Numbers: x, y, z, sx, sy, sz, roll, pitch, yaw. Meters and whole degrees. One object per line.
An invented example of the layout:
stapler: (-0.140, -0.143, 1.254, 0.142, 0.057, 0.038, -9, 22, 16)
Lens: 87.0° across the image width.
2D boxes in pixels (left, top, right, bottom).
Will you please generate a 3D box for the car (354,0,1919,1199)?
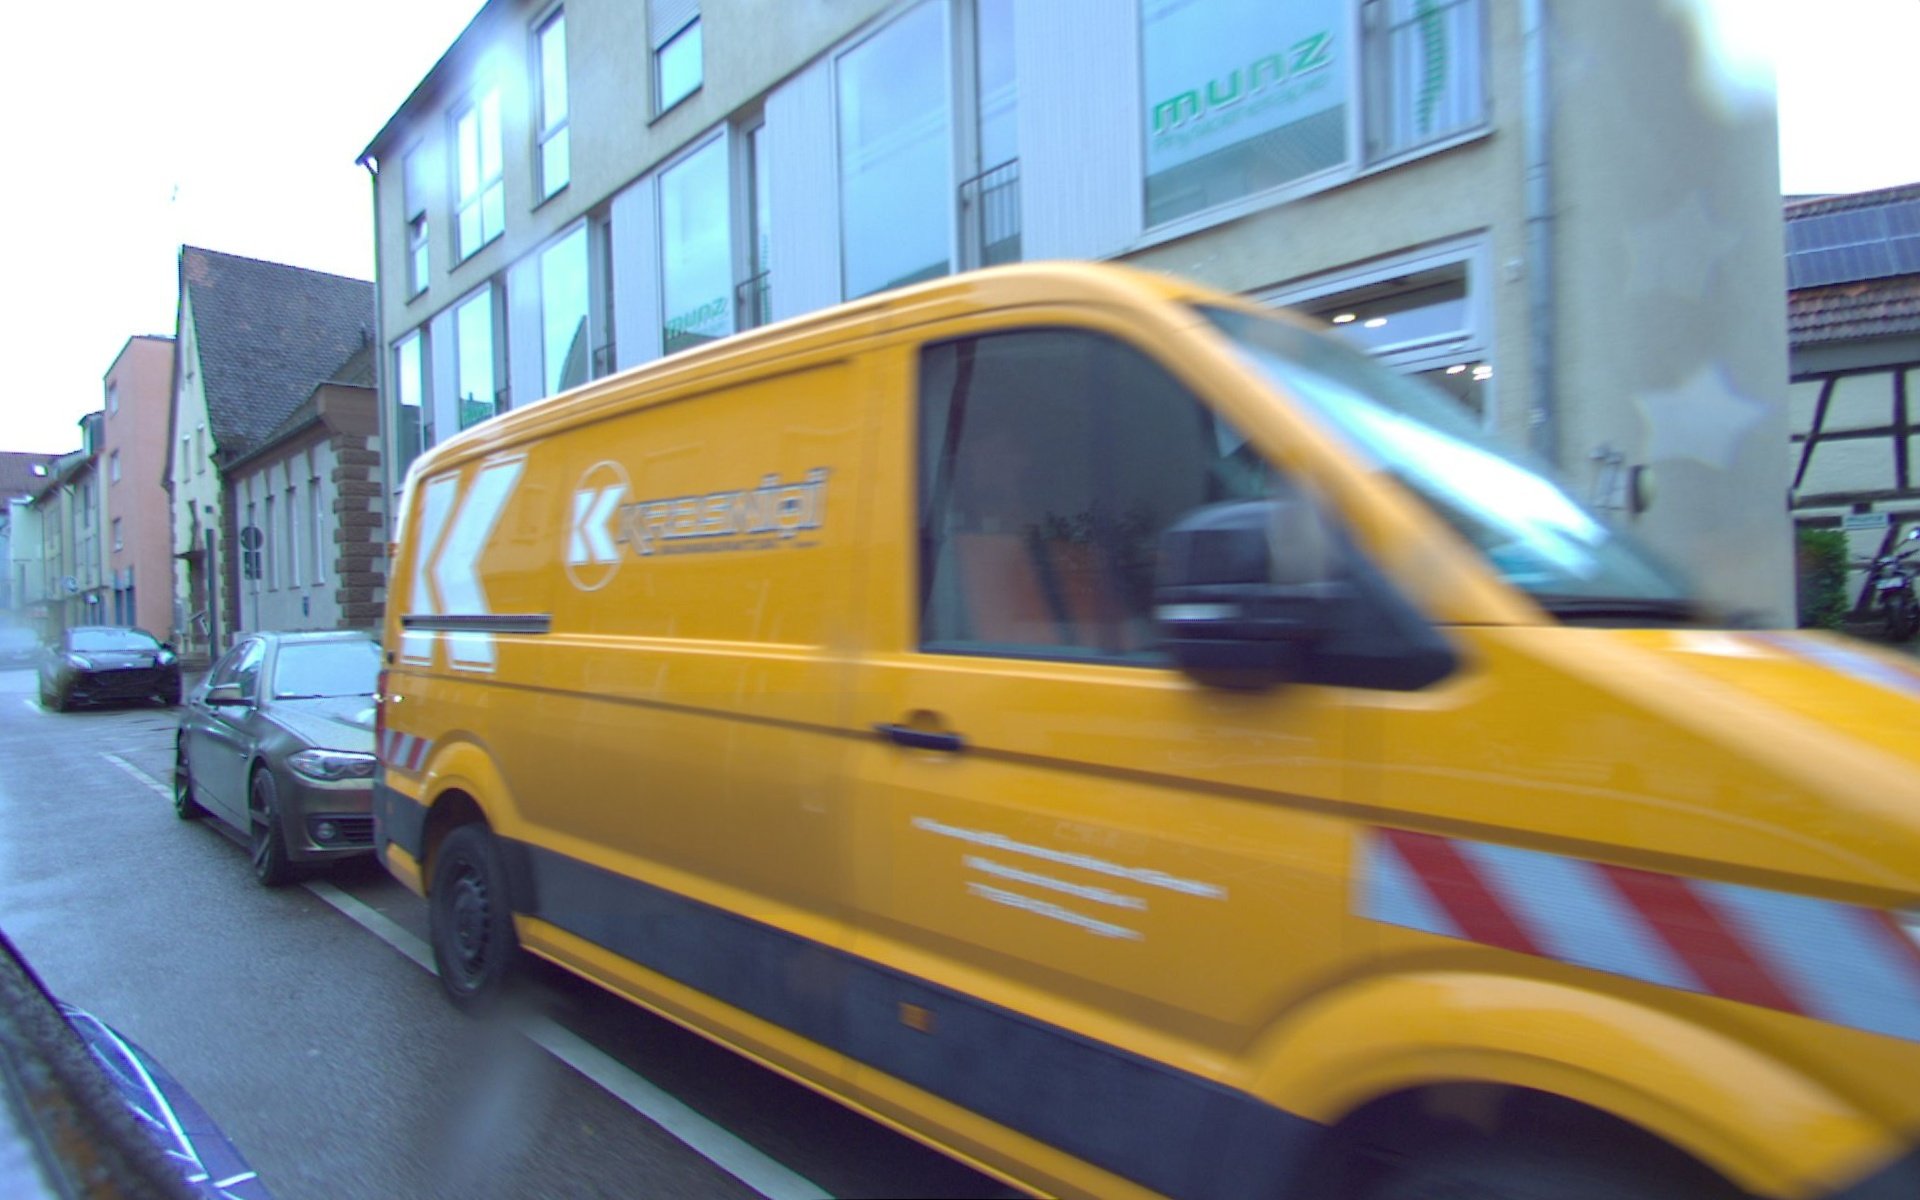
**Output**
car: (0.037, 0.315, 3.360, 5.861, 2.256, 1.972, -2, -1, 43)

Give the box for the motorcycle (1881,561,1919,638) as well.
motorcycle: (12.583, -0.029, 13.338, 0.519, 0.937, 1.431, -2, 1, 38)

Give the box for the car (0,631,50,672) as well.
car: (-34.612, 1.875, 37.117, 3.490, 1.377, 1.609, -3, -1, 45)

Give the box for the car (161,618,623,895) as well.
car: (-4.320, 0.870, 7.302, 4.483, 1.366, 1.736, -3, -2, 45)

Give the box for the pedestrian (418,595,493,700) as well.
pedestrian: (-8.932, 0.821, 17.929, 0.548, 1.790, 1.000, -2, 1, 27)

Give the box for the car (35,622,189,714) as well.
car: (-16.327, 1.236, 19.417, 3.930, 1.537, 1.716, -2, -1, 42)

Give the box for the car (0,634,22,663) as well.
car: (-46.943, 2.379, 49.312, 3.490, 1.377, 1.609, -3, -1, 45)

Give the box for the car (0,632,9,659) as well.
car: (-50.395, 2.386, 52.366, 3.490, 1.377, 1.609, -3, -1, 45)
